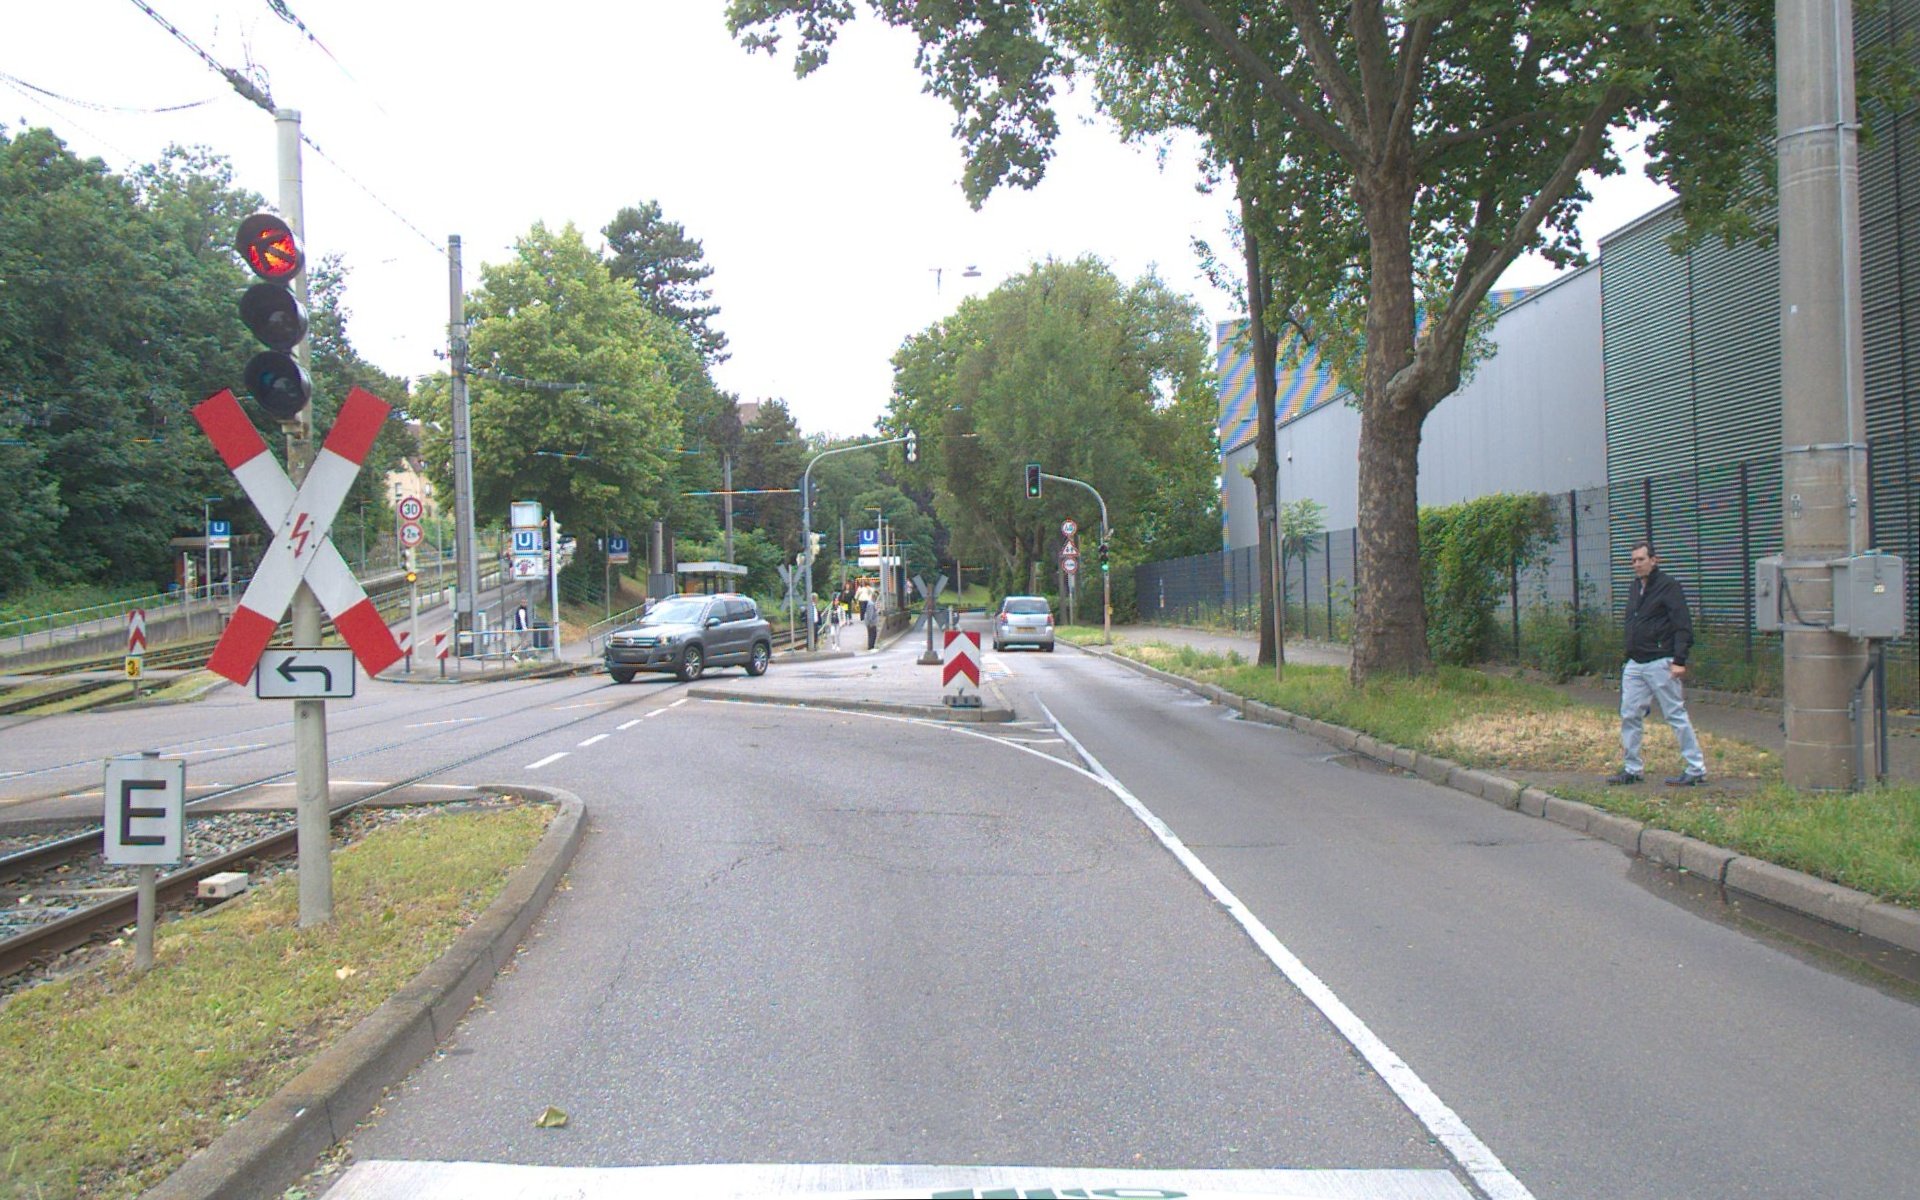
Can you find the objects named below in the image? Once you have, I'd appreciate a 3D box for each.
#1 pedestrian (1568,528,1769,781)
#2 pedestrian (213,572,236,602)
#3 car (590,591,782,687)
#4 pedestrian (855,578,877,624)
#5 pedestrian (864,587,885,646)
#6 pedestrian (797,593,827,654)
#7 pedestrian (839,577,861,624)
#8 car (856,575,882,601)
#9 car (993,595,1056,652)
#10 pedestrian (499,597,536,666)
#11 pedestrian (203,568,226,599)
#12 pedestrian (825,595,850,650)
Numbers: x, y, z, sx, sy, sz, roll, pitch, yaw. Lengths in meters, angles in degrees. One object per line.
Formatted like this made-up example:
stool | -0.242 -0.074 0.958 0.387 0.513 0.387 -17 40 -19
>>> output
pedestrian | 5.307 0.402 12.400 1.109 1.791 0.803 -2 -3 -37
pedestrian | -33.532 -0.602 75.379 0.757 1.349 0.785 1 -1 -9
car | -5.393 0.745 33.143 1.861 1.748 4.136 -3 -1 22
pedestrian | -3.491 0.045 61.314 0.722 1.694 0.680 1 -1 -11
pedestrian | -2.630 0.506 50.739 0.538 1.789 0.738 1 -1 4
pedestrian | -4.146 0.662 46.399 0.720 1.694 0.682 1 -1 1
pedestrian | -4.025 0.017 60.427 0.722 1.694 0.680 1 -1 -11
car | -7.392 -0.986 134.445 1.953 2.049 3.999 1 0 -1
car | 1.929 0.697 50.508 1.708 1.627 3.999 1 0 -1
pedestrian | -12.054 0.851 45.060 0.654 1.853 0.806 1 -1 12
pedestrian | -33.422 -0.763 74.172 0.757 1.349 0.786 1 2 -9
pedestrian | -3.772 0.688 50.918 0.721 1.694 0.681 1 -1 -5
